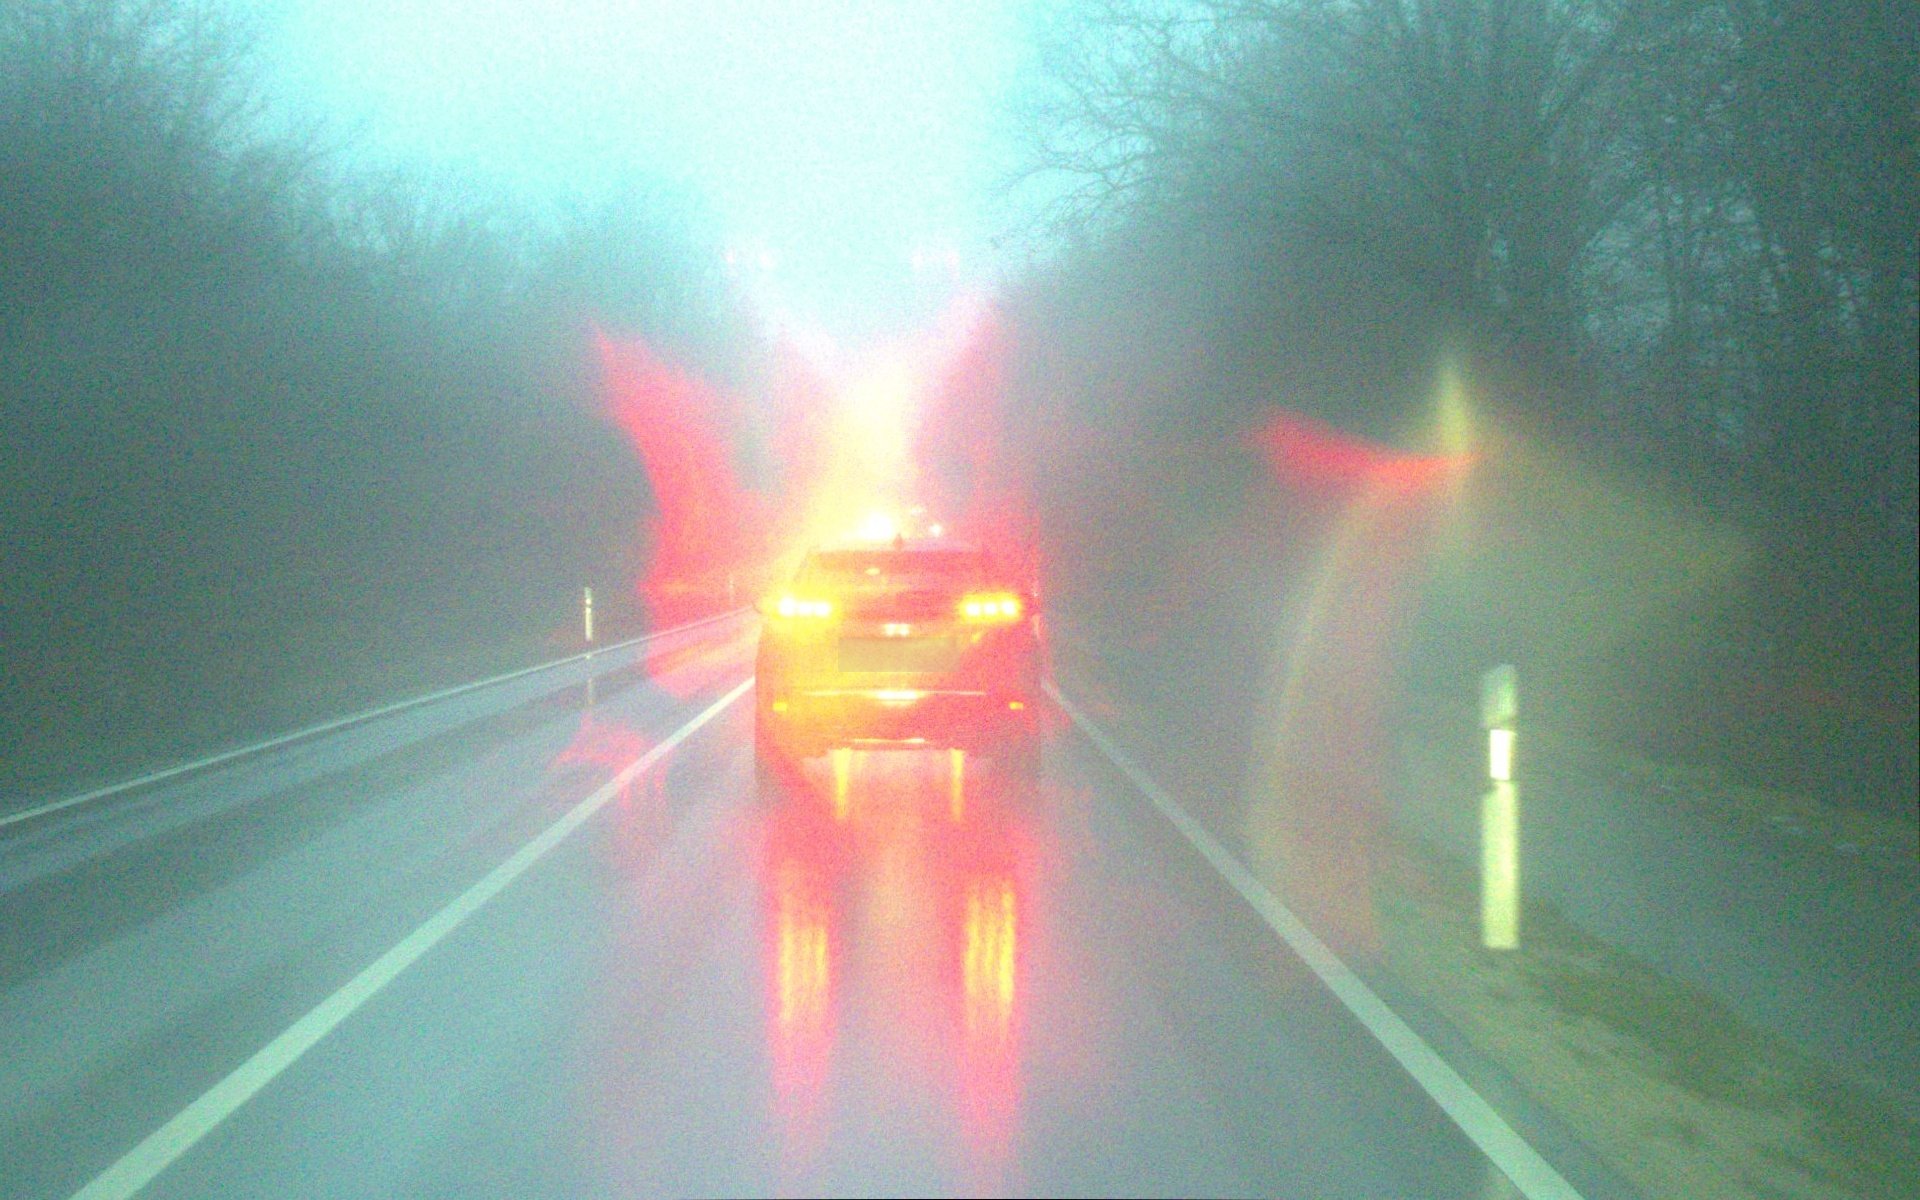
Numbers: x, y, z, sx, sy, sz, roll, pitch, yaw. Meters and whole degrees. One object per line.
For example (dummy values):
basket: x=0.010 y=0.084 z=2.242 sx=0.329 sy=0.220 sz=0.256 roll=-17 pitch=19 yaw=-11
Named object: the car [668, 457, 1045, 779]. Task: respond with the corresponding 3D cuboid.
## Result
car: x=-0.660 y=0.052 z=22.686 sx=2.198 sy=1.871 sz=4.827 roll=1 pitch=1 yaw=-1
